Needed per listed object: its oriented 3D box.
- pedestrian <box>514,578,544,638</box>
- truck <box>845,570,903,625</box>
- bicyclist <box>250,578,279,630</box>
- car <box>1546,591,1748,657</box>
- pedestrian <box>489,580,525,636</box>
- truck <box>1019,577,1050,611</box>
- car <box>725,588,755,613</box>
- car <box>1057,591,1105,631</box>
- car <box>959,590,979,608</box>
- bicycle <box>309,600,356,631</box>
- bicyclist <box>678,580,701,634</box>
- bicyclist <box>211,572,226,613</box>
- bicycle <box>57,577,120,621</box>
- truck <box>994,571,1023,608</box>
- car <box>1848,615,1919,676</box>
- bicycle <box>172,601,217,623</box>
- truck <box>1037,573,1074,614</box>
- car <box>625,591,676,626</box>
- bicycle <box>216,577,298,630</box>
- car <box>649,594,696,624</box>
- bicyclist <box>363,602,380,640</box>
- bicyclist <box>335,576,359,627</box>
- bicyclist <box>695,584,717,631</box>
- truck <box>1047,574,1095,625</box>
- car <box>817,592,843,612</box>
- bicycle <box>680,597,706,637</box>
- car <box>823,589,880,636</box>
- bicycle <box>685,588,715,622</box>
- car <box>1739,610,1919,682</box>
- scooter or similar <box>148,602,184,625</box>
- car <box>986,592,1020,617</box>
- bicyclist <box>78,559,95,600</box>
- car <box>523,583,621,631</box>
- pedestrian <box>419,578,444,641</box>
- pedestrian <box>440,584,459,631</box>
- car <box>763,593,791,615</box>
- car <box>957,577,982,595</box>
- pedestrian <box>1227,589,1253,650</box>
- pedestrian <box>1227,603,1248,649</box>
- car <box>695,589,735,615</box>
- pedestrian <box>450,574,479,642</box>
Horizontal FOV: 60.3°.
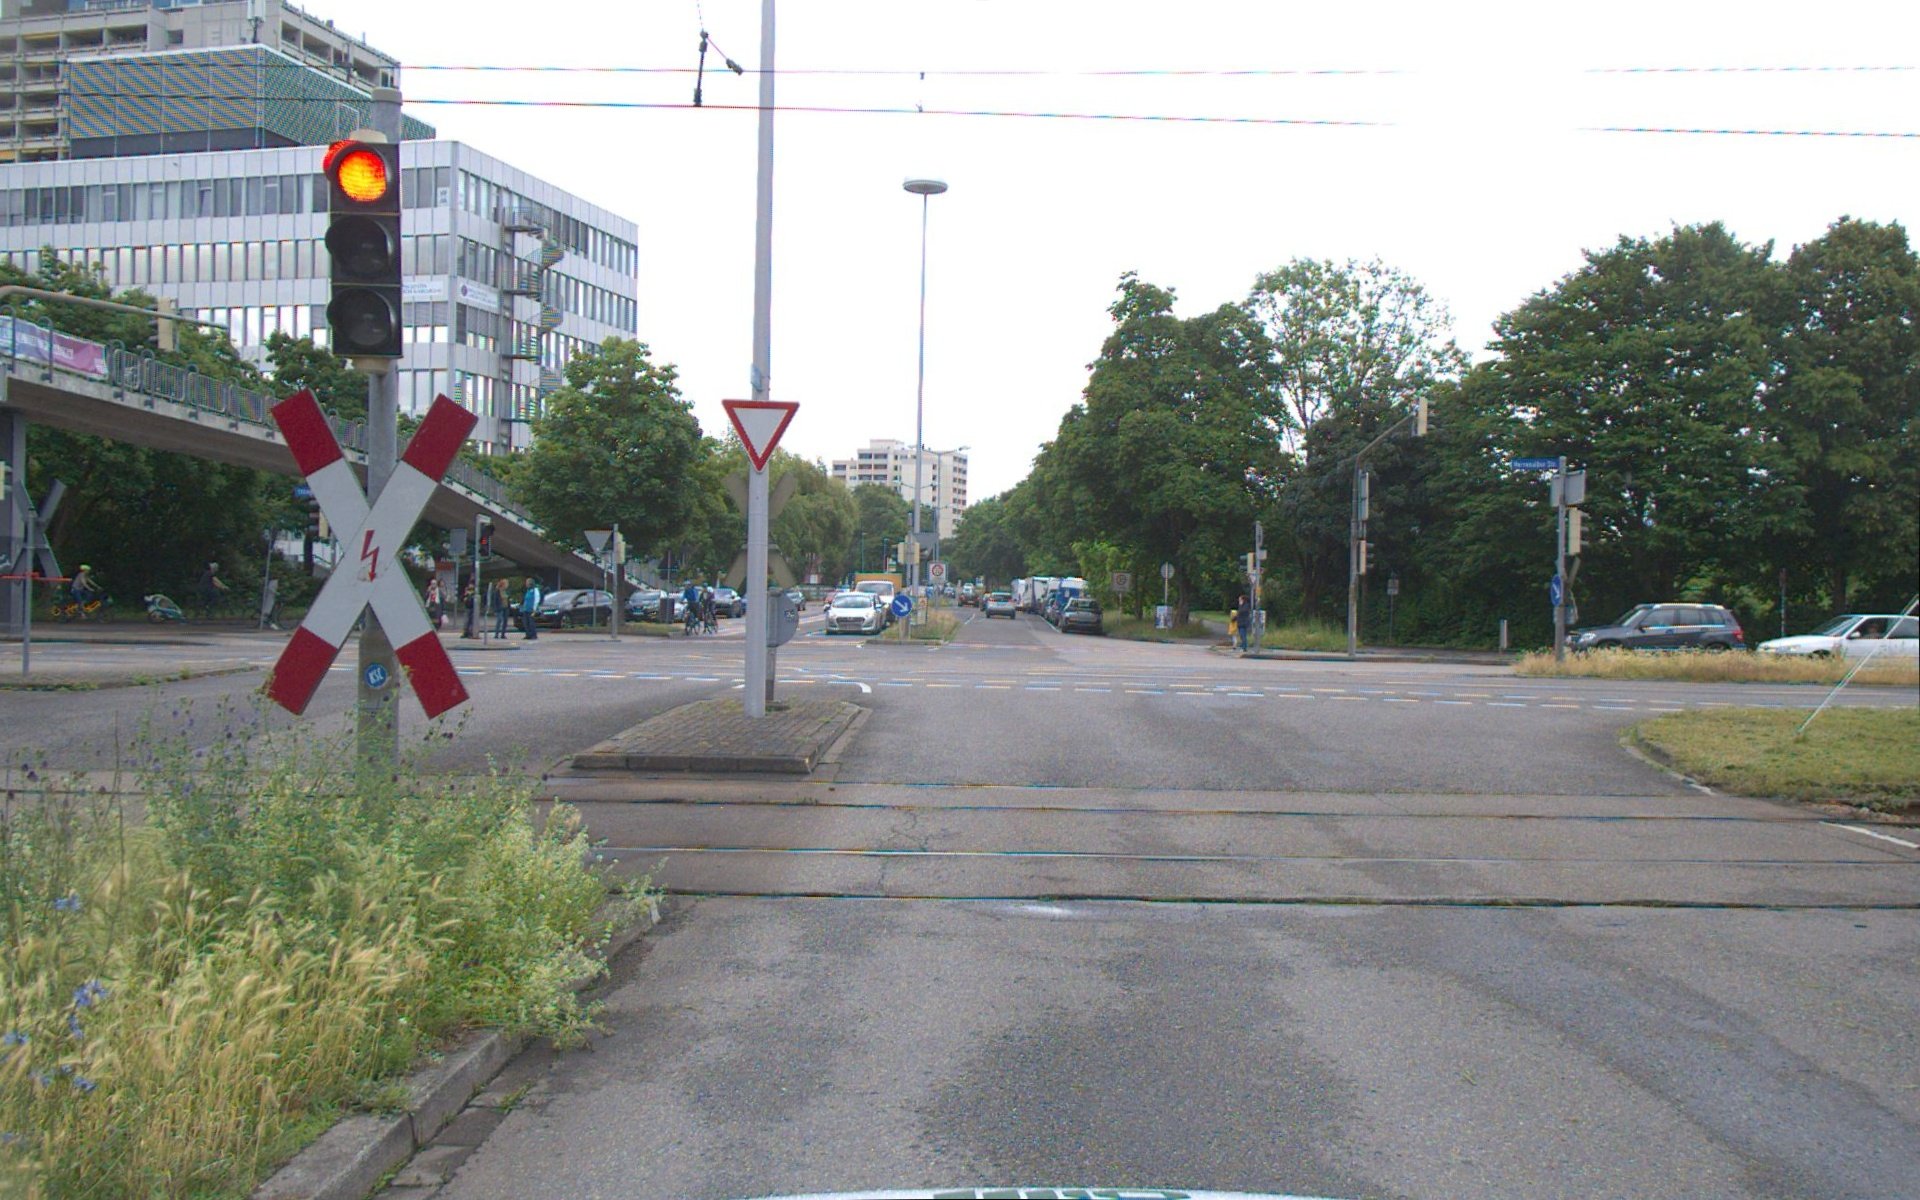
[{"bbox_3d":[-11.878,0.206,45.584,0.673,1.633,0.487,1,0,-5],"label":"pedestrian"},{"bbox_3d":[-3.711,-0.135,72.090,2.111,2.237,5.841,1,0,1],"label":"truck"},{"bbox_3d":[-22.314,0.117,53.085,0.734,1.653,0.526,1,0,-10],"label":"bicyclist"},{"bbox_3d":[17.426,0.591,42.094,4.373,1.530,1.846,1,0,0],"label":"car"},{"bbox_3d":[-12.473,0.217,45.588,0.901,1.537,0.403,1,0,-12],"label":"pedestrian"},{"bbox_3d":[5.938,-0.431,132.237,1.954,2.618,5.375,1,0,-3],"label":"truck"},{"bbox_3d":[-14.107,0.035,106.231,1.415,1.579,3.663,1,0,-1],"label":"car"},{"bbox_3d":[5.382,0.468,74.008,1.747,1.691,3.999,1,0,-1],"label":"car"},{"bbox_3d":[0.825,-0.099,150.662,1.523,1.531,3.997,1,0,-4],"label":"car"},{"bbox_3d":[-20.769,0.504,54.808,0.618,0.941,2.523,1,1,-1],"label":"bicycle"},{"bbox_3d":[-9.086,0.238,55.622,0.631,1.799,0.646,1,0,-1],"label":"bicyclist"},{"bbox_3d":[-24.194,-0.233,53.993,0.380,1.326,0.275,1,0,-38],"label":"bicyclist"},{"bbox_3d":[-27.513,-0.032,52.219,1.675,1.327,0.388,1,0,-13],"label":"bicycle"},{"bbox_3d":[4.162,-0.902,143.004,1.954,3.061,5.767,1,0,-4],"label":"truck"},{"bbox_3d":[25.170,1.175,41.857,4.373,1.465,1.846,1,0,0],"label":"car"},{"bbox_3d":[-24.767,0.385,53.524,1.283,0.704,0.286,1,0,-37],"label":"bicycle"},{"bbox_3d":[6.898,-0.473,120.179,1.954,2.888,5.726,1,0,-4],"label":"truck"},{"bbox_3d":[-14.467,0.384,77.422,1.637,1.579,3.892,1,0,0],"label":"car"},{"bbox_3d":[-22.533,0.113,53.049,2.315,1.653,0.526,1,0,-10],"label":"bicycle"},{"bbox_3d":[-14.385,0.427,82.918,1.637,1.411,3.895,1,0,0],"label":"car"},{"bbox_3d":[-19.254,0.680,54.087,0.396,1.202,0.377,1,1,1],"label":"bicyclist"},{"bbox_3d":[-20.337,0.040,54.876,0.553,1.673,0.531,1,-1,0],"label":"bicyclist"},{"bbox_3d":[-8.943,0.272,58.284,0.665,1.622,0.695,1,-1,-1],"label":"bicyclist"},{"bbox_3d":[6.066,0.002,90.817,2.130,2.703,6.245,0,0,-1],"label":"truck"},{"bbox_3d":[-9.519,0.186,121.237,1.481,1.414,3.533,1,0,2],"label":"car"},{"bbox_3d":[-8.924,0.557,55.317,0.532,1.289,2.110,1,0,-1],"label":"bicycle"},{"bbox_3d":[-3.759,0.392,57.781,1.753,1.545,4.325,1,0,-1],"label":"car"},{"bbox_3d":[-9.029,0.167,57.479,0.712,1.120,2.264,1,0,-1],"label":"bicycle"},{"bbox_3d":[18.691,0.948,34.554,4.052,1.381,1.647,1,0,0],"label":"car"},{"bbox_3d":[-25.430,0.432,53.001,0.986,0.727,0.401,1,0,-36],"label":"scooter or similar"},{"bbox_3d":[2.715,0.267,105.257,1.979,1.531,3.999,1,0,-1],"label":"car"},{"bbox_3d":[-27.578,-0.653,52.215,0.398,1.275,0.276,1,0,-12],"label":"bicyclist"},{"bbox_3d":[-13.344,0.220,57.116,1.636,1.579,4.003,1,0,14],"label":"car"},{"bbox_3d":[-14.453,0.253,45.217,0.608,1.721,0.404,1,0,-15],"label":"pedestrian"},{"bbox_3d":[-17.341,0.251,56.131,0.570,1.607,0.777,1,0,-19],"label":"pedestrian"},{"bbox_3d":[-13.843,0.293,125.374,1.637,1.579,4.000,1,0,0],"label":"car"},{"bbox_3d":[0.799,-1.180,140.402,1.979,1.531,3.999,1,0,-1],"label":"car"},{"bbox_3d":[8.356,0.583,49.385,0.643,1.780,0.459,1,0,-1],"label":"pedestrian"},{"bbox_3d":[8.379,0.771,50.015,0.516,1.365,0.525,1,0,-1],"label":"pedestrian"},{"bbox_3d":[-14.191,0.097,95.858,1.727,1.419,3.999,1,0,-1],"label":"car"},{"bbox_3d":[-13.640,0.214,45.561,0.625,1.835,0.800,1,0,-10],"label":"pedestrian"}]
